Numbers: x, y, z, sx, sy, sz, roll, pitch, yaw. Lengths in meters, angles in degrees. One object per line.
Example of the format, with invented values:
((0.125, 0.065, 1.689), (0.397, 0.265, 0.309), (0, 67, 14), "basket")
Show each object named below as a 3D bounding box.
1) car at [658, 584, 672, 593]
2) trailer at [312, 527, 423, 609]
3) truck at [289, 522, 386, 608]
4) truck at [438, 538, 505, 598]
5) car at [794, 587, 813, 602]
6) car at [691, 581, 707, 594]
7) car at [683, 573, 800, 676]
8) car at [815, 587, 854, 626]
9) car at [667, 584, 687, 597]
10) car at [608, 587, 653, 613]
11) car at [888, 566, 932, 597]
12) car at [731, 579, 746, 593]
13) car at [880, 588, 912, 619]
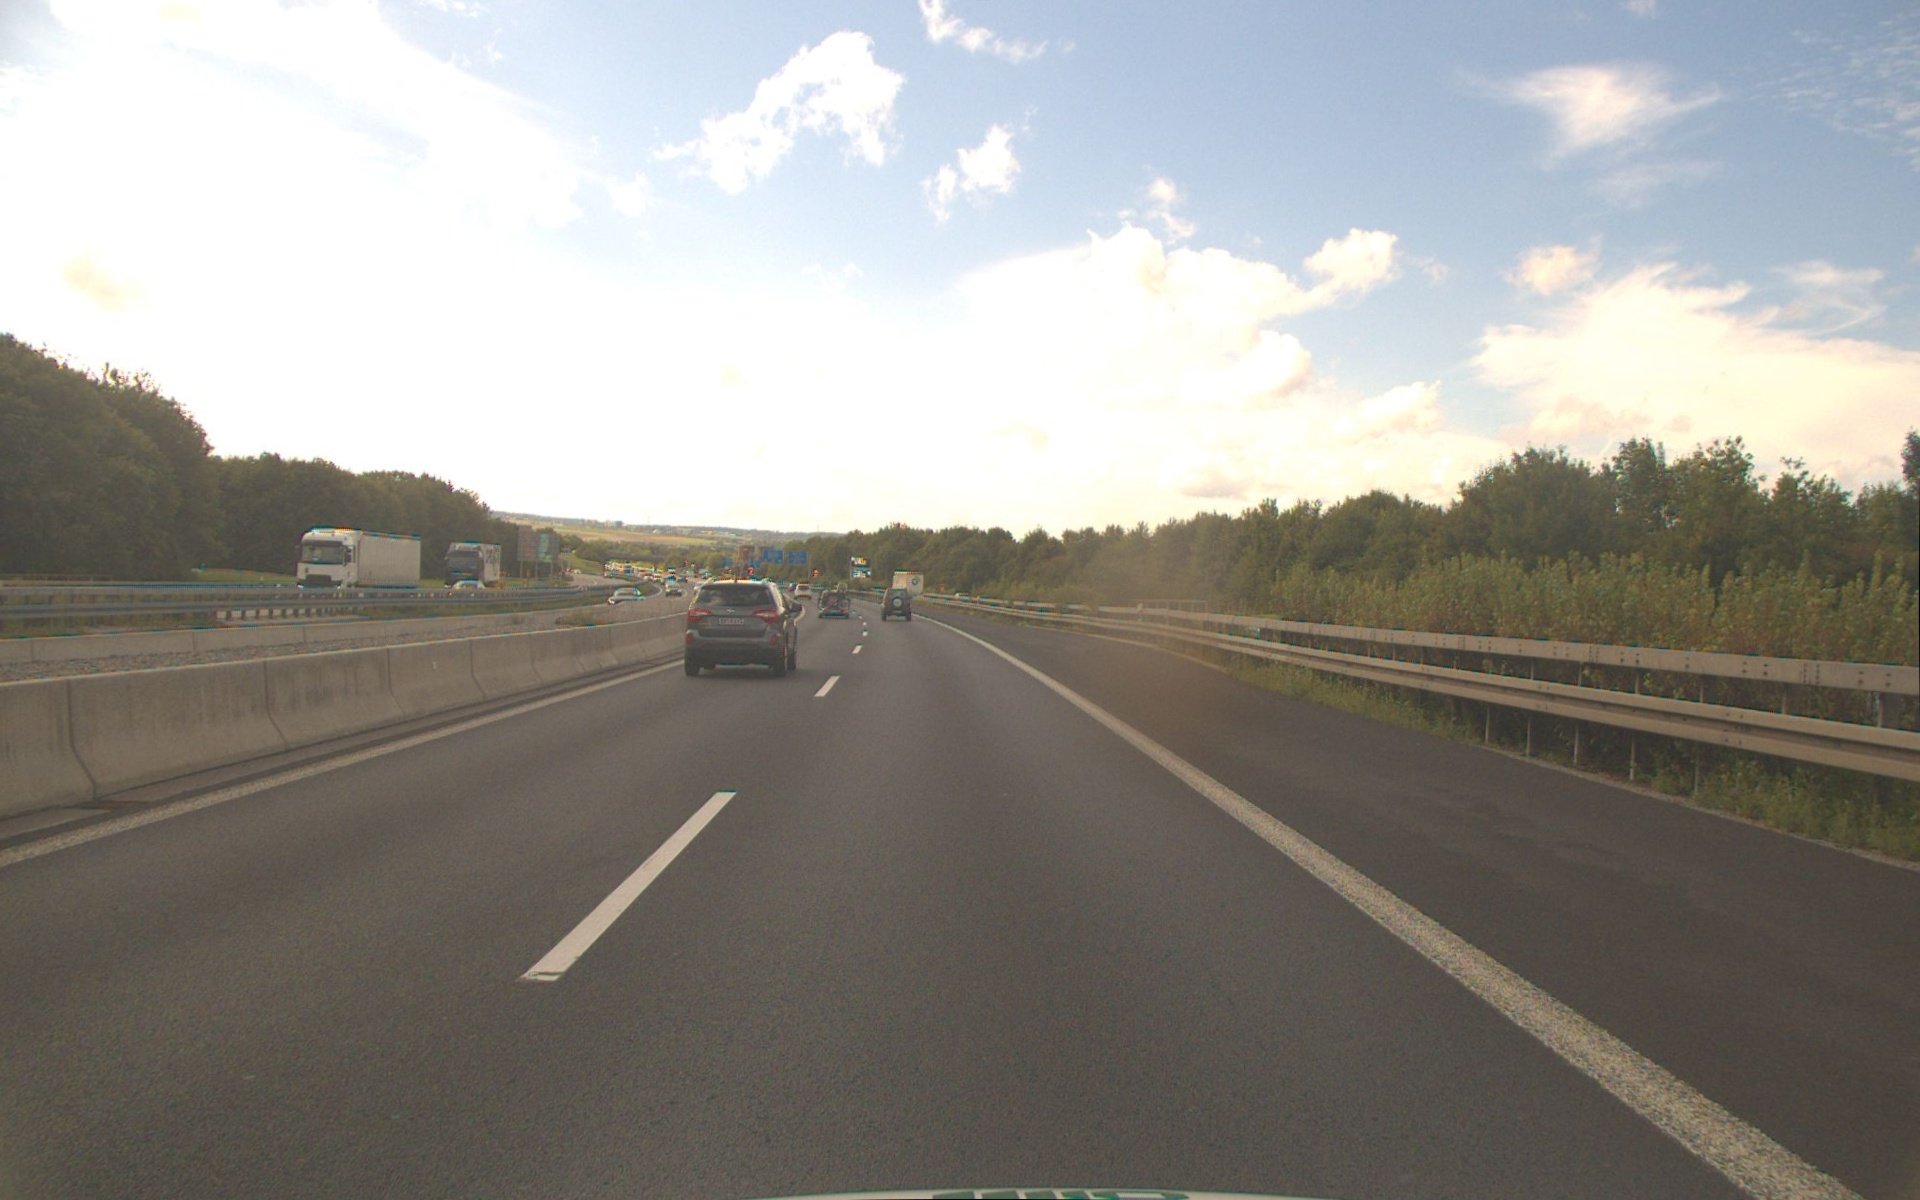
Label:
((-44.574, -1.779, 250.124), (1.833, 1.361, 4.223), (1, 1, -7), "car")
((-34.664, -1.717, 97.405), (3.257, 4.368, 12.123), (1, -1, -6), "trailer")
((-33.975, -1.823, 90.518), (3.257, 4.368, 6.739), (1, -1, -6), "truck")
((-36.196, -2.299, 122.932), (2.846, 4.038, 10.449), (1, -1, -6), "truck")
((-18.252, -0.632, 192.795), (1.956, 1.713, 3.993), (1, -1, -8), "car")
((-33.200, -1.568, 210.782), (1.850, 1.638, 4.958), (1, 0, -7), "car")
((-4.063, 0.434, 31.485), (1.781, 1.766, 5.183), (1, 0, -3), "car")
((-7.180, 0.353, 94.938), (1.989, 2.189, 3.999), (1, 0, -2), "car")
((-33.108, -1.093, 193.350), (1.955, 1.427, 4.807), (1, 0, -6), "car")
((-19.646, 0.016, 98.789), (1.837, 1.473, 5.119), (1, -1, -3), "car")
((-7.604, -2.681, 249.790), (4.645, 4.341, 11.370), (1, -1, -11), "car")
((-29.091, -1.835, 217.440), (1.850, 1.733, 4.958), (1, 0, -7), "car")
((-3.515, 0.158, 90.593), (1.556, 1.625, 4.091), (1, 0, -5), "car")
